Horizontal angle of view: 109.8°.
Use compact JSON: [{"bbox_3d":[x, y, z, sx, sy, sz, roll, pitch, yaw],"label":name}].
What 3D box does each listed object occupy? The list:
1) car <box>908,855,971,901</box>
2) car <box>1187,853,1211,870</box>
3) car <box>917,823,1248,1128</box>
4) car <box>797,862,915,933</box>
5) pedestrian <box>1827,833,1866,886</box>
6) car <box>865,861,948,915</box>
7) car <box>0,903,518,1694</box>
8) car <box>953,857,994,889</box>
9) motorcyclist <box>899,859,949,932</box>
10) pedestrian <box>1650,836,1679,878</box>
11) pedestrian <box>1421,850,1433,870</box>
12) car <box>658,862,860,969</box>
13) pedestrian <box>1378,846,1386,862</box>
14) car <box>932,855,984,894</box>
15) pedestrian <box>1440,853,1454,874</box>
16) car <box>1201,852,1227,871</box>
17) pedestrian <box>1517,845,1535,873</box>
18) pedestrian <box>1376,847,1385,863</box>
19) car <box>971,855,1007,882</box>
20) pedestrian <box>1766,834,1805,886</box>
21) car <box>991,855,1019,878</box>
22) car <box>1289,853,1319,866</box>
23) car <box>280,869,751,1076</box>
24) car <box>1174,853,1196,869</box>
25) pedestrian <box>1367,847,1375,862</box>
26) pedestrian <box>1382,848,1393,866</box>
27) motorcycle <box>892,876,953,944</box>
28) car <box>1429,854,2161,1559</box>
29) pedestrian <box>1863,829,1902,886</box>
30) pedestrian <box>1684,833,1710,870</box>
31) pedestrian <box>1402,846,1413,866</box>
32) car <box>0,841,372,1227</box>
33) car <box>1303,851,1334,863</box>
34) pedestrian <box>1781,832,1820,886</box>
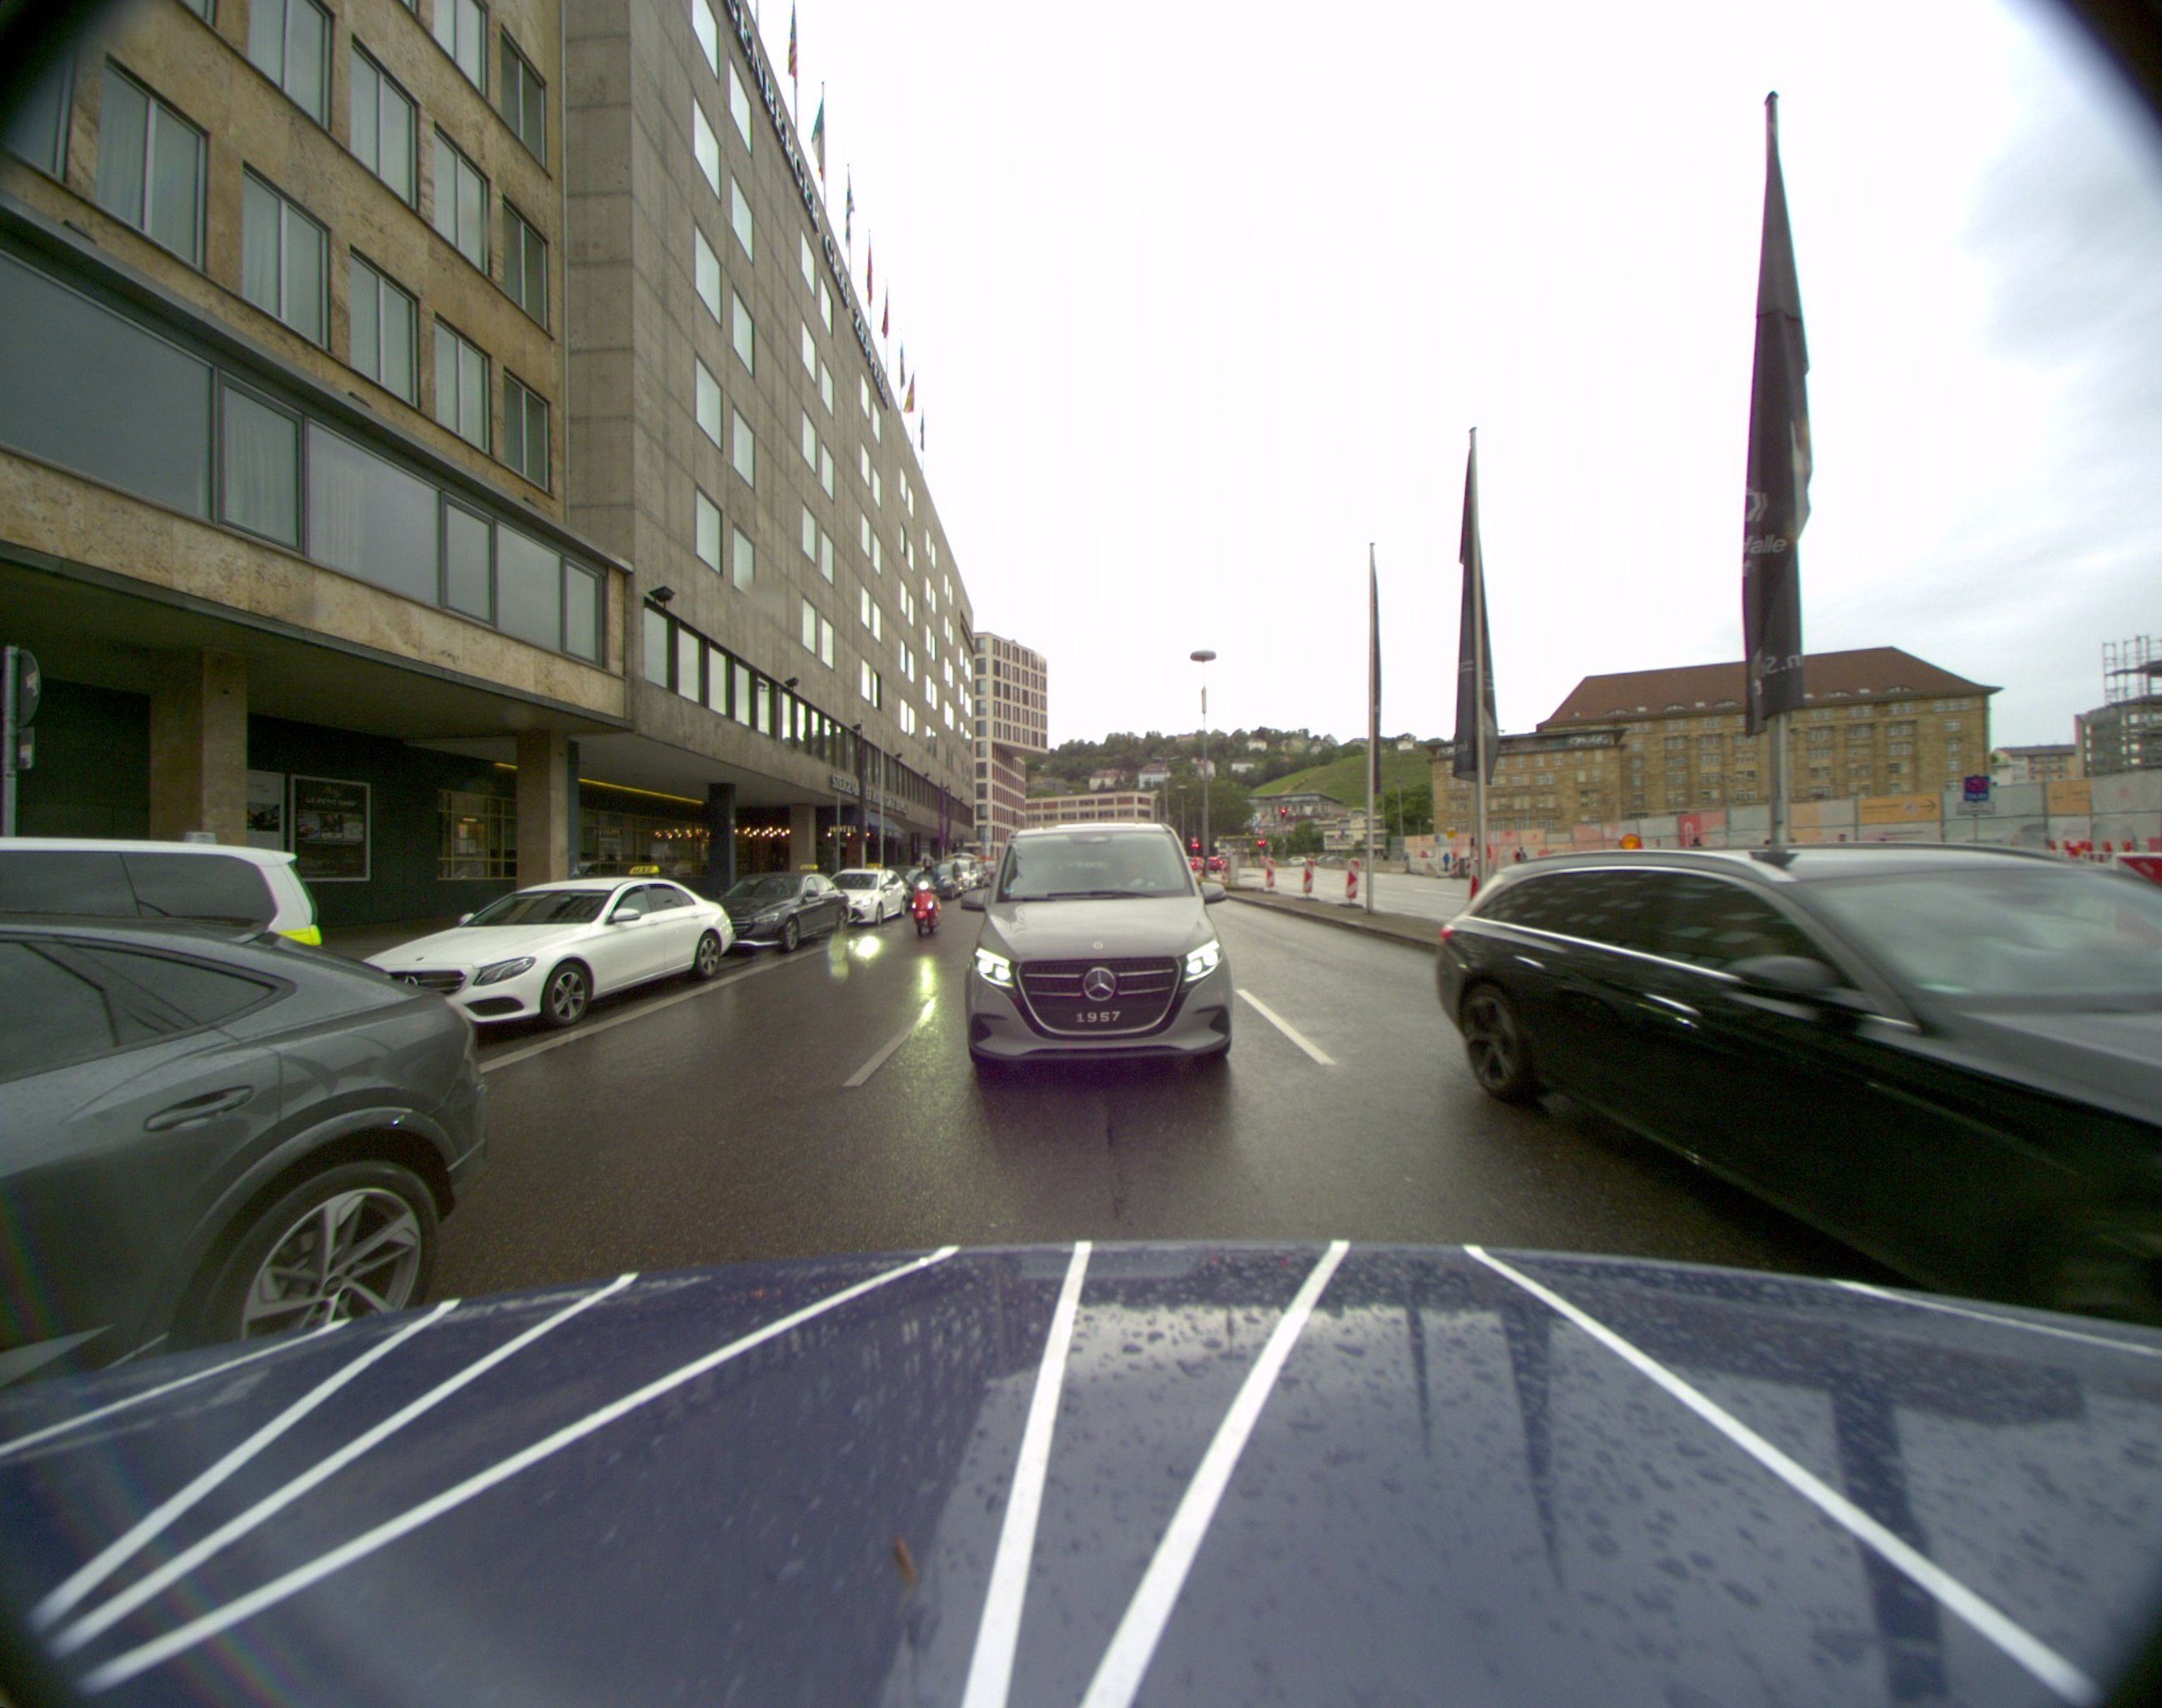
[{"bbox_3d":[-6.049,0.990,33.026,1.731,1.732,4.814,-2,1,0],"label":"car"},{"bbox_3d":[12.335,0.759,79.663,1.785,1.684,3.916,-2,1,-1],"label":"car"},{"bbox_3d":[0.050,0.745,7.341,1.998,1.849,5.160,-2,1,1],"label":"car"},{"bbox_3d":[-6.039,1.085,21.040,1.731,1.583,4.814,-2,1,0],"label":"car"},{"bbox_3d":[25.460,0.187,25.282,0.714,1.734,0.564,-2,1,21],"label":"pedestrian"},{"bbox_3d":[-6.042,1.114,26.855,1.731,1.583,4.814,-2,1,0],"label":"car"},{"bbox_3d":[-3.159,0.988,0.726,1.883,1.493,4.342,-2,1,1],"label":"car"},{"bbox_3d":[-6.121,1.056,43.731,1.731,1.604,4.001,-2,1,0],"label":"car"},{"bbox_3d":[-3.448,0.899,16.785,0.861,1.519,0.844,-2,1,1],"label":"motorcyclist"},{"bbox_3d":[25.892,0.110,33.728,0.664,1.825,0.720,-2,1,1],"label":"pedestrian"},{"bbox_3d":[28.530,0.462,62.681,0.715,1.606,0.544,-2,1,1],"label":"pedestrian"},{"bbox_3d":[-6.074,1.047,15.087,1.879,1.628,4.814,-2,1,0],"label":"car"},{"bbox_3d":[32.251,0.009,81.451,0.715,1.606,0.544,-2,1,13],"label":"pedestrian"},{"bbox_3d":[-6.086,0.949,38.223,1.731,1.732,4.814,-2,1,0],"label":"car"},{"bbox_3d":[28.183,0.719,58.520,0.715,1.606,0.544,-2,1,1],"label":"pedestrian"},{"bbox_3d":[12.592,0.717,72.276,1.785,1.684,3.916,-1,0,0],"label":"car"},{"bbox_3d":[26.287,0.290,44.923,0.715,1.606,0.544,-2,1,1],"label":"pedestrian"},{"bbox_3d":[30.348,0.122,76.982,0.715,1.606,0.544,-2,1,1],"label":"pedestrian"},{"bbox_3d":[-5.868,0.904,48.909,1.731,1.604,4.001,-2,1,0],"label":"car"},{"bbox_3d":[23.850,0.189,25.727,0.714,1.723,0.718,-2,1,19],"label":"pedestrian"},{"bbox_3d":[-5.899,0.954,59.230,1.731,1.604,4.001,-2,1,0],"label":"car"},{"bbox_3d":[34.471,0.814,117.640,4.194,1.846,1.832,-2,1,6],"label":"car"},{"bbox_3d":[-6.091,1.095,9.229,1.879,1.628,5.010,-2,1,0],"label":"car"},{"bbox_3d":[11.834,0.723,86.489,1.785,1.684,3.916,-2,1,-1],"label":"car"},{"bbox_3d":[31.272,0.071,81.853,0.715,1.606,0.544,-2,1,14],"label":"pedestrian"},{"bbox_3d":[28.974,0.295,71.788,0.715,1.606,0.544,-2,1,1],"label":"pedestrian"},{"bbox_3d":[-3.442,1.193,16.710,0.848,1.299,1.965,-2,1,1],"label":"motorcycle"},{"bbox_3d":[3.311,0.784,2.917,1.860,1.461,4.586,-2,1,1],"label":"car"},{"bbox_3d":[26.157,0.107,24.805,0.661,1.825,0.556,-2,1,21],"label":"pedestrian"},{"bbox_3d":[27.927,-0.108,34.452,0.715,1.606,0.544,-2,1,1],"label":"pedestrian"},{"bbox_3d":[28.030,0.169,65.226,0.715,1.606,0.544,-2,1,1],"label":"pedestrian"},{"bbox_3d":[-6.322,0.931,3.226,1.879,1.909,4.935,-2,1,0],"label":"car"},{"bbox_3d":[32.698,0.418,104.814,3.993,1.622,2.002,-1,0,14],"label":"car"},{"bbox_3d":[24.805,0.167,26.211,0.714,1.825,0.718,-2,1,19],"label":"pedestrian"}]
